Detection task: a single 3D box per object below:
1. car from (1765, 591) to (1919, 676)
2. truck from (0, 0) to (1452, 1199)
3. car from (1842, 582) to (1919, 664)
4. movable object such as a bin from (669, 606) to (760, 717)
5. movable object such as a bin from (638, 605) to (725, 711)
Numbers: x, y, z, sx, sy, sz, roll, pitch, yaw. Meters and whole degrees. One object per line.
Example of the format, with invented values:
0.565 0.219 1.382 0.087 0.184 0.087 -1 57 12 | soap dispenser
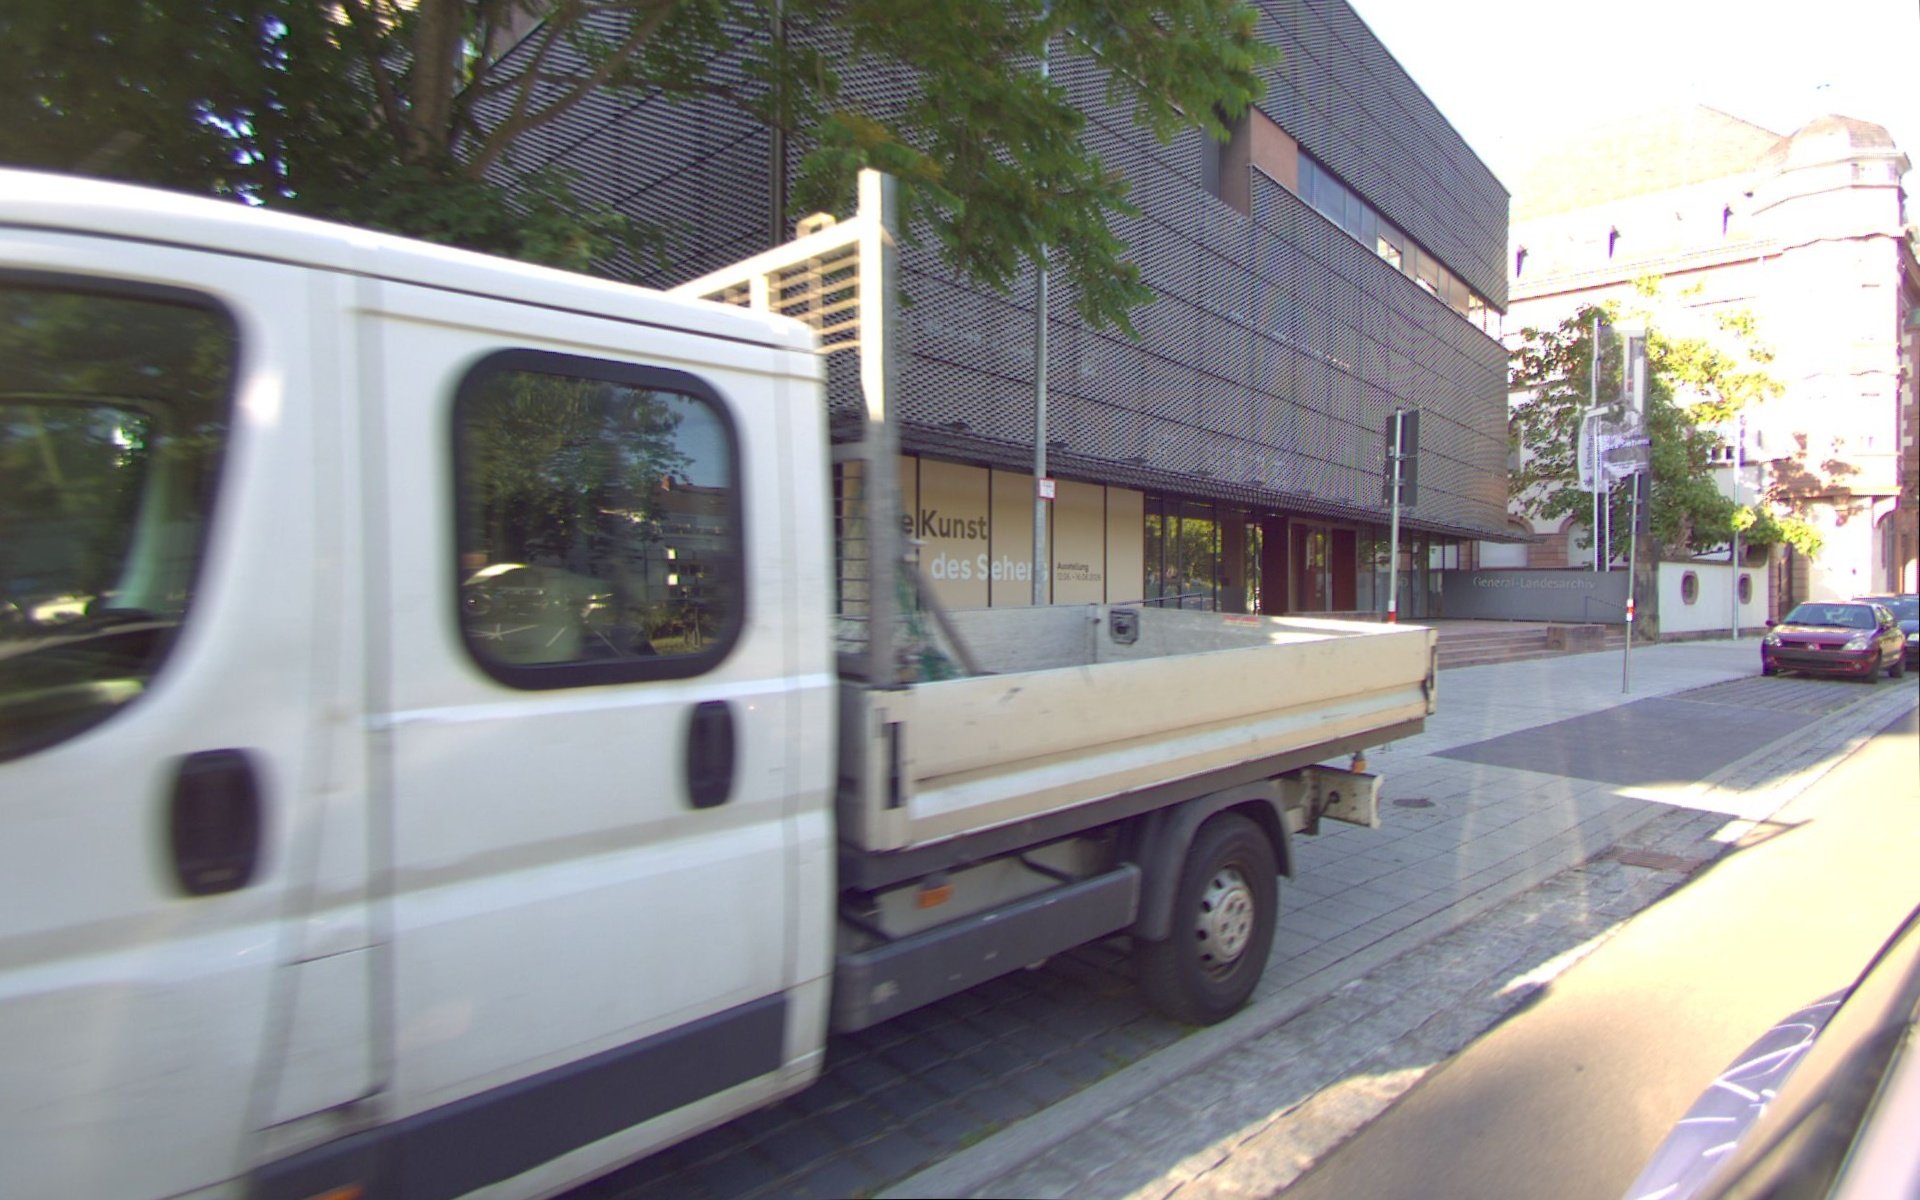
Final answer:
16.260 0.535 18.599 3.484 1.374 1.610 -1 1 -39 | car
-0.888 0.189 3.186 6.761 2.596 2.131 -1 1 -43 | truck
20.564 0.439 21.899 3.880 1.638 1.610 -1 1 -39 | car
-2.750 0.666 11.363 0.657 1.160 0.757 0 1 43 | movable object such as a bin
-3.252 0.648 11.828 0.657 1.160 0.757 0 1 43 | movable object such as a bin
